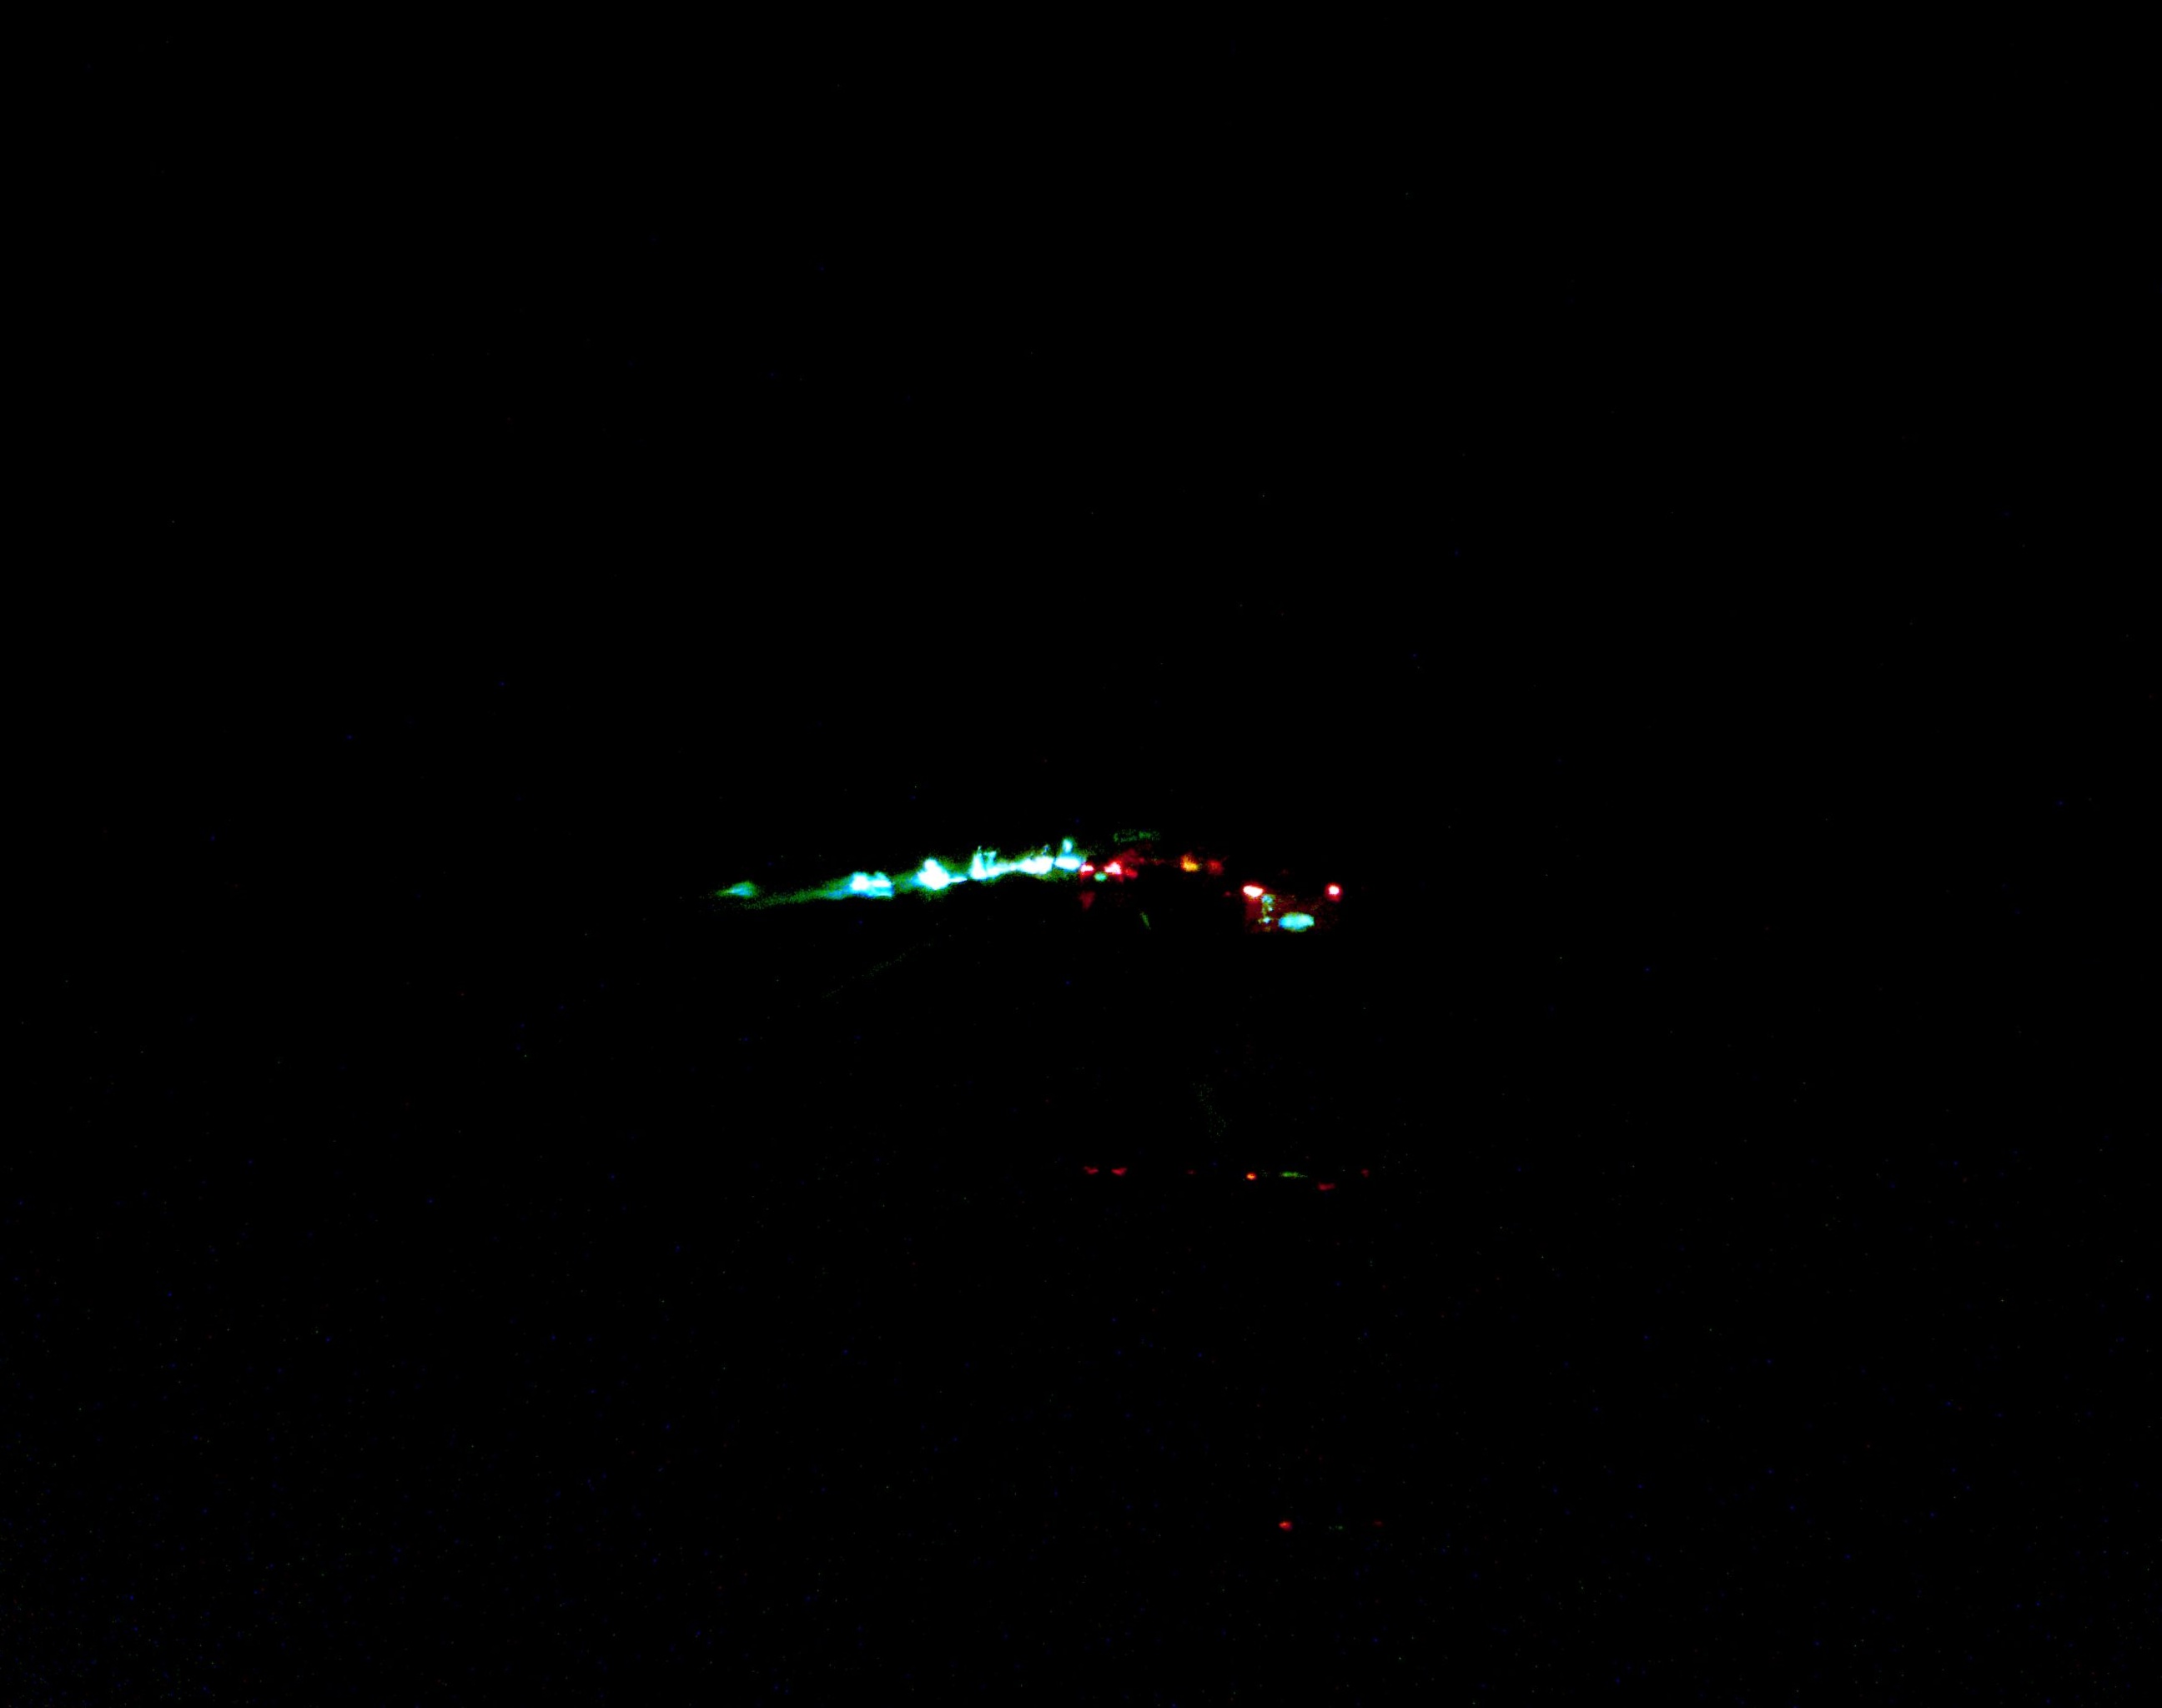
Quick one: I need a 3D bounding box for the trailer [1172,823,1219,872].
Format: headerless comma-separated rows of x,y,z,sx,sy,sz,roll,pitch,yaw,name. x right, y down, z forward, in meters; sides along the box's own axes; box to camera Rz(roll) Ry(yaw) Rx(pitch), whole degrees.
10.617,-0.443,76.923,2.891,4.109,14.495,-3,-1,3,trailer

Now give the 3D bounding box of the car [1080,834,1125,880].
0.996,0.125,37.925,1.986,2.013,4.001,0,0,1,car

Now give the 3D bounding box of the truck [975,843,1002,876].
-12.400,0.728,109.949,2.680,4.221,5.738,0,0,3,truck

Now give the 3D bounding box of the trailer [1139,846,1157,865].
15.699,0.399,191.940,3.030,4.109,13.829,-3,-2,1,trailer

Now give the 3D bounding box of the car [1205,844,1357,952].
3.333,0.711,14.456,1.734,1.575,4.496,-1,-1,2,car

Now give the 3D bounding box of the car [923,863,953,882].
-13.867,1.737,79.230,1.987,1.774,4.959,0,-1,1,car

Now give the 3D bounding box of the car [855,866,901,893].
-14.806,1.817,59.687,1.987,1.774,4.959,-2,-1,0,car

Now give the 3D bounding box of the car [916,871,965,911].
-8.271,2.144,48.256,1.986,2.013,4.297,0,1,2,car
